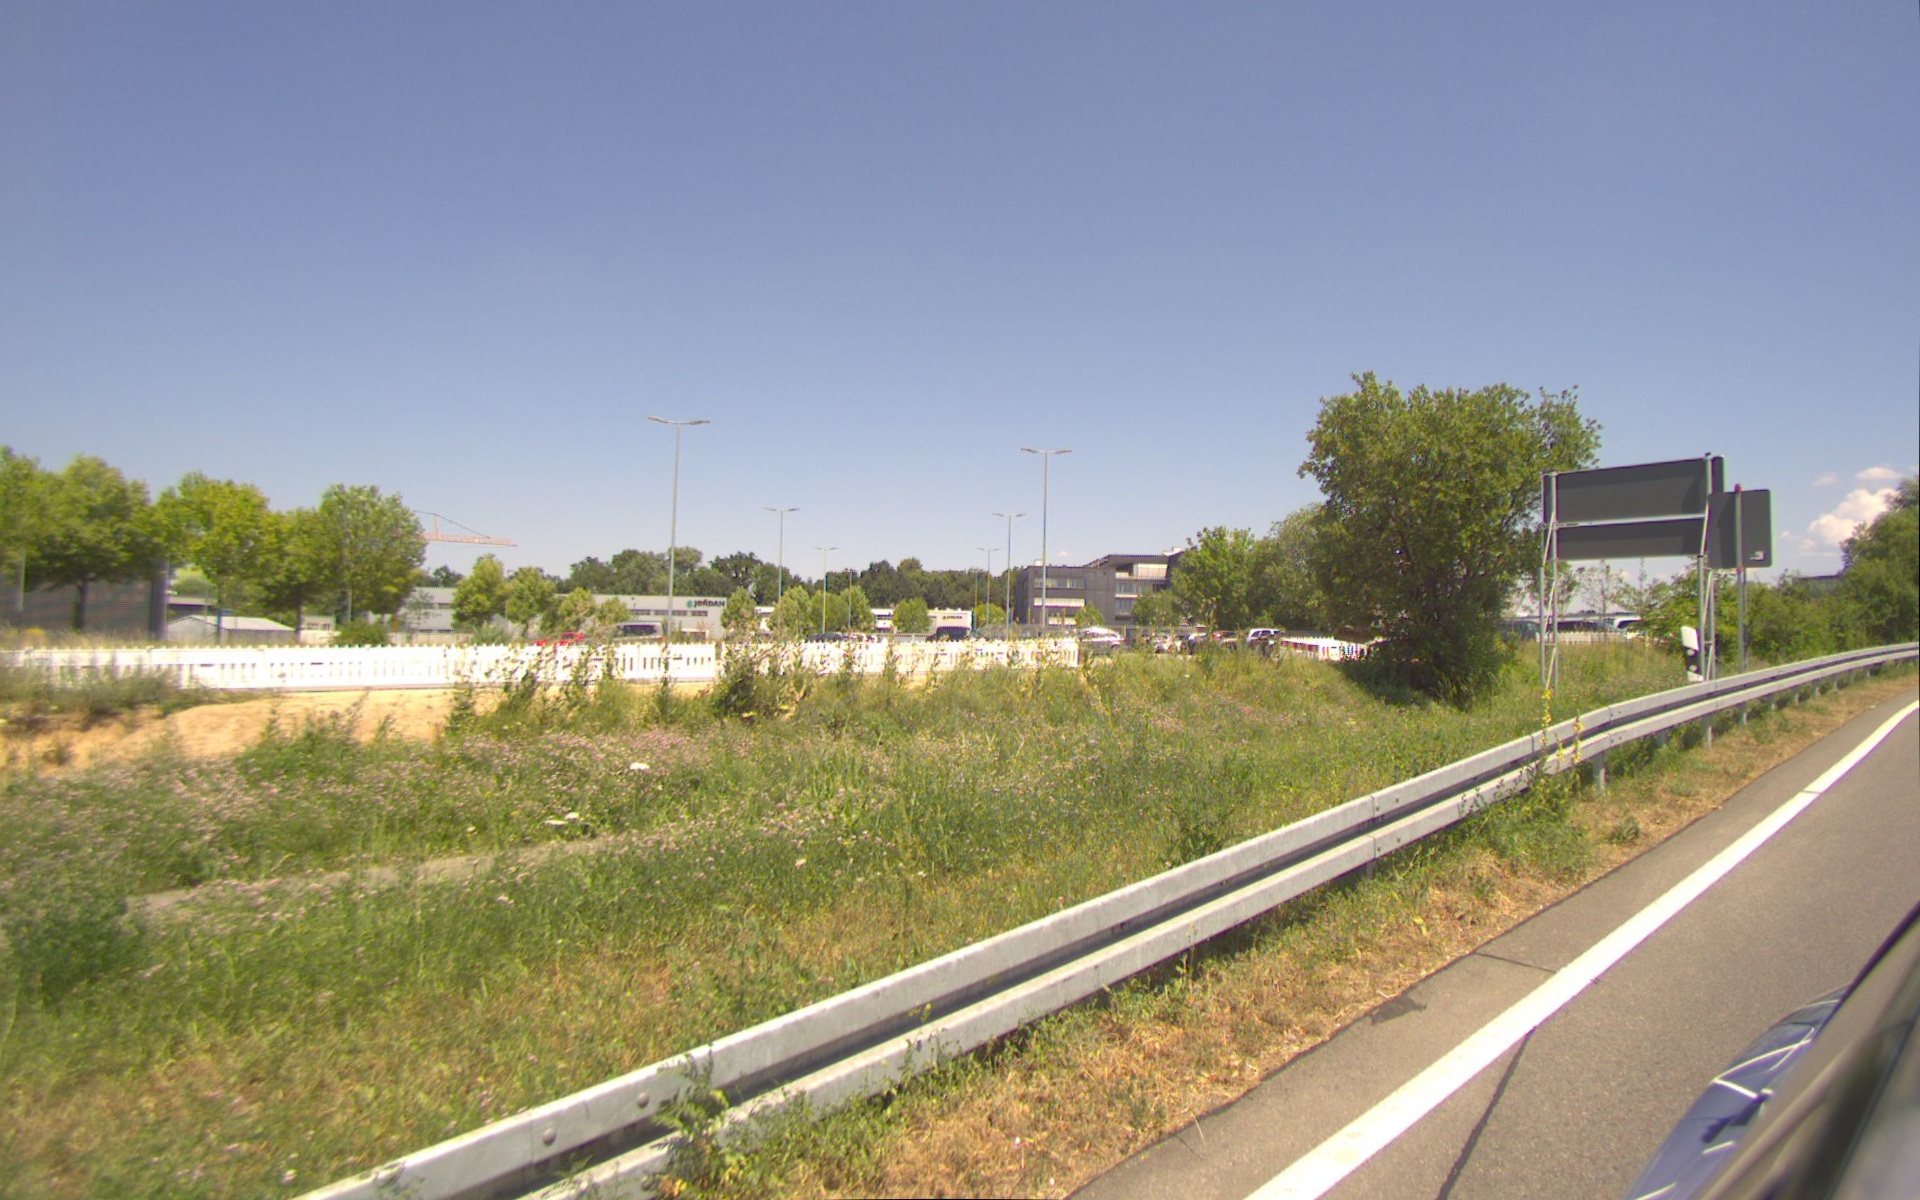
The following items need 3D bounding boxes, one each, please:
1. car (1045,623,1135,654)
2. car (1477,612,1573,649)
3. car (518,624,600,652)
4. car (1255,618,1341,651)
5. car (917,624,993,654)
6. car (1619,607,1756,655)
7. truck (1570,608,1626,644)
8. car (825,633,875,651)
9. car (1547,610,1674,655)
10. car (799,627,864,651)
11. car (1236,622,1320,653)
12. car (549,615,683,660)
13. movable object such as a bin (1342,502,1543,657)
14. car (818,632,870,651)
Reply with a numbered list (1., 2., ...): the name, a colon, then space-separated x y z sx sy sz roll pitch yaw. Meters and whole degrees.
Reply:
1. car: 6.849 2.025 53.567 4.526 1.527 1.999 0 0 1
2. car: 36.231 1.990 65.005 5.051 2.199 2.000 1 -3 -4
3. car: -25.804 2.441 65.227 4.457 1.707 2.101 -1 -1 3
4. car: 18.049 1.817 54.149 3.920 1.694 2.002 0 0 -4
5. car: -0.326 2.333 60.827 4.452 1.707 2.103 -1 -1 -2
6. car: 36.711 1.604 51.204 2.096 2.288 5.228 4 -4 -39
7. truck: 70.324 2.931 111.822 3.091 3.733 9.355 0 -3 19
8. car: -10.553 4.029 97.300 4.462 1.707 2.098 -1 -1 7
9. car: 29.914 1.504 46.664 2.024 1.939 4.446 3 -4 -34
10. car: -9.696 2.965 76.548 4.462 1.707 2.098 -1 -1 7
11. car: 17.974 2.122 57.365 4.074 1.655 2.001 0 0 -3
12. car: -14.943 1.602 44.224 5.236 1.839 2.104 -1 -1 -6
13. movable object such as a bin: 19.073 -0.515 39.748 9.057 5.331 3.432 4 -4 -38
14. car: -10.714 3.850 93.942 4.462 1.707 2.098 -1 -1 7
